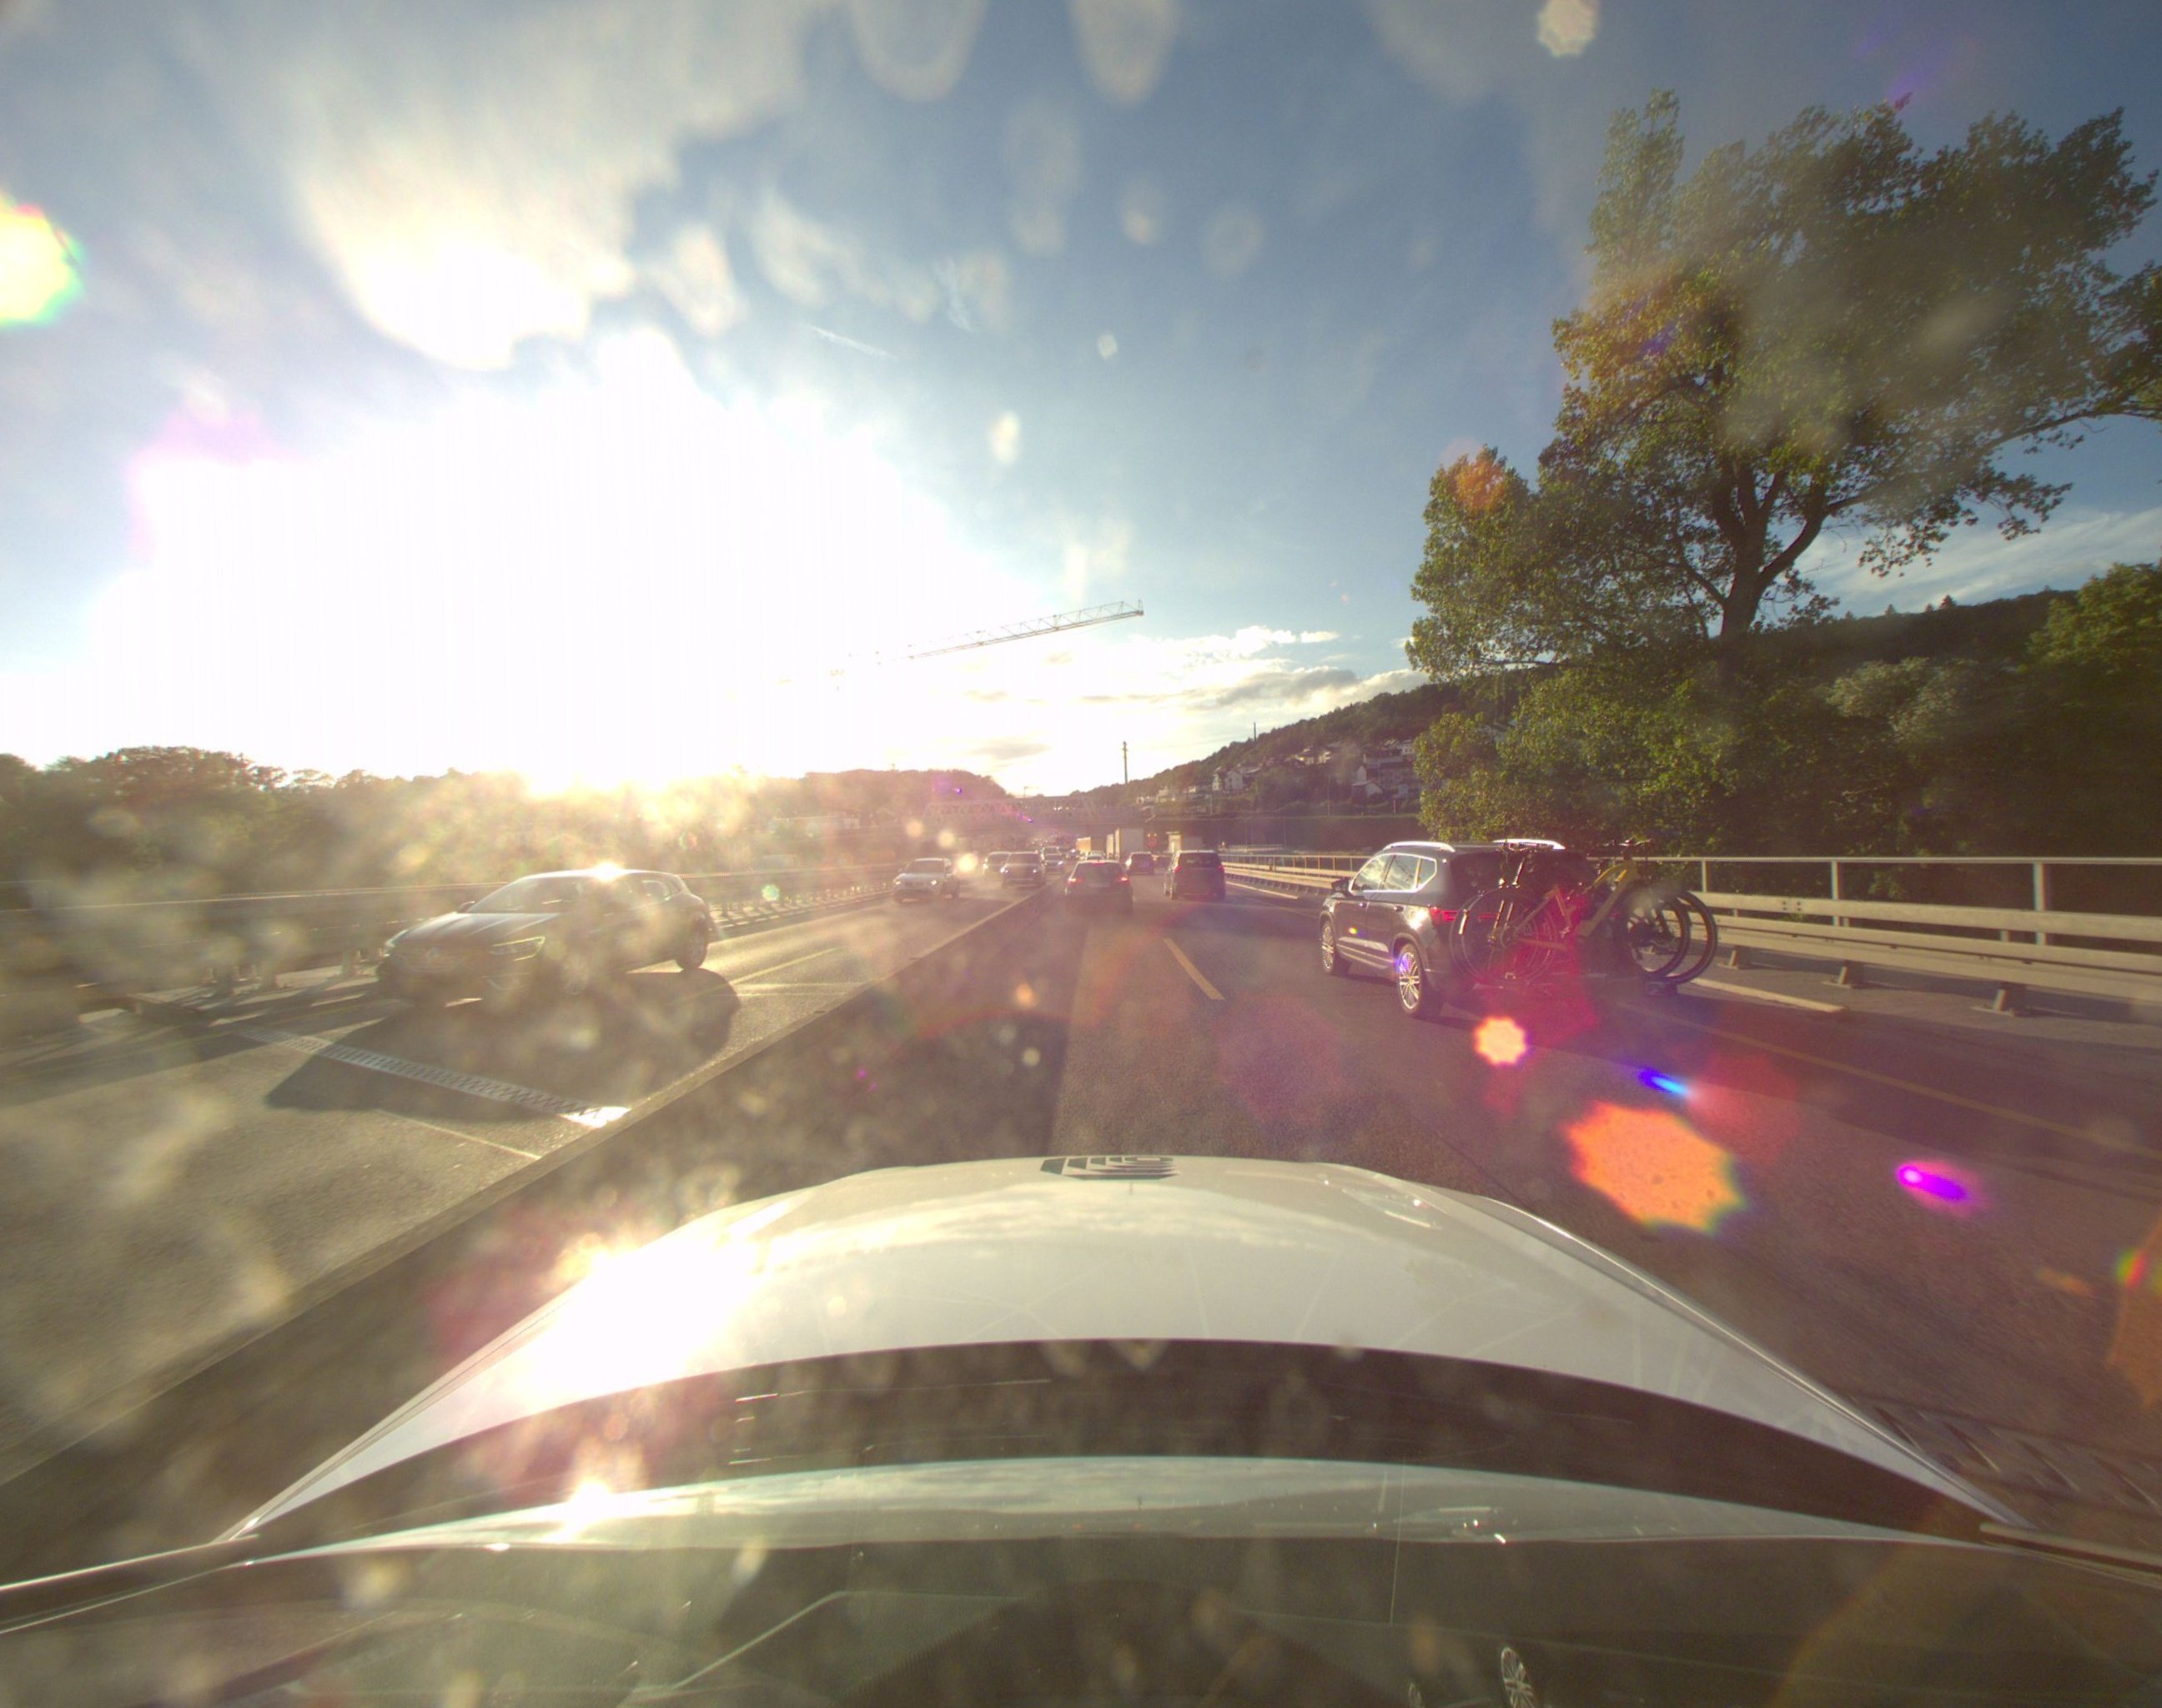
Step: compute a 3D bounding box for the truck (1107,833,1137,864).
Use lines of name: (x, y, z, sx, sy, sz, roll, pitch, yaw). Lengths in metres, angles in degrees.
truck: (6.330, -0.865, 128.827, 3.878, 4.498, 15.265, -1, 0, 0)

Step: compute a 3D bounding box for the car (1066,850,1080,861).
car: (-1.182, 0.207, 121.457, 1.988, 1.530, 5.778, -1, 0, -2)

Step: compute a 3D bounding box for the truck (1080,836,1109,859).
truck: (2.636, -1.402, 166.160, 3.887, 4.497, 13.814, -1, 1, -7)

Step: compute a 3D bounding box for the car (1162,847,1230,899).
car: (3.930, 0.600, 28.524, 1.808, 1.632, 4.412, -1, 0, 1)

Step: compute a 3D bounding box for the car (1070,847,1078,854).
car: (-1.726, -0.896, 195.852, 1.787, 1.539, 4.364, -1, 0, -2)

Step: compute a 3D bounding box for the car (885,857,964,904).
car: (-5.668, 0.921, 29.972, 1.921, 1.546, 4.290, -1, 0, 2)

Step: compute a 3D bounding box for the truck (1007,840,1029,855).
truck: (-16.915, -1.720, 217.514, 2.942, 3.890, 10.188, -1, 0, -22)

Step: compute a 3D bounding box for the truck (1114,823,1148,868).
truck: (5.441, -0.860, 89.854, 3.372, 4.498, 15.277, -1, 0, 3)

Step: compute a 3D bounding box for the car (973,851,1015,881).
car: (-5.604, 0.752, 53.015, 1.985, 1.856, 4.285, 1, 0, 3)

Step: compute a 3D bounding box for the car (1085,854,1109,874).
car: (1.260, 0.762, 64.243, 1.760, 1.486, 3.999, 0, 0, -1)

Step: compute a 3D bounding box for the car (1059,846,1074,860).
car: (-2.663, -0.231, 148.661, 2.071, 2.458, 6.253, -1, 0, -6)

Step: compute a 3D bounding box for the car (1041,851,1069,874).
car: (-1.972, 0.676, 63.846, 1.831, 1.640, 4.002, -3, 0, 2)

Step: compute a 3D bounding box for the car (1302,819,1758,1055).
car: (3.832, 0.577, 8.207, 1.869, 1.599, 4.966, -2, 0, 1)

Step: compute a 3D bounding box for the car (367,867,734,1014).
car: (-6.353, 0.925, 10.489, 1.769, 1.404, 4.310, -1, 0, 2)

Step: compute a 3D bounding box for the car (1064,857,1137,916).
car: (0.487, 0.802, 22.098, 1.764, 1.390, 4.000, -1, 0, 0)

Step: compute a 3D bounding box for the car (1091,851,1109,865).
car: (2.029, 0.413, 86.881, 1.758, 1.486, 4.003, 0, 0, 3)

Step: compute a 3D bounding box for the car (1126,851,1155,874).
car: (4.248, 0.572, 58.728, 1.764, 1.552, 4.000, 0, 0, 0)

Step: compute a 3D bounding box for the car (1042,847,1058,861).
car: (-3.948, -0.007, 105.776, 1.923, 1.862, 4.142, -1, 0, -1)

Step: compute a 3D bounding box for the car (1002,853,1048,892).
car: (-2.688, 0.850, 40.043, 1.923, 1.754, 4.671, -1, 0, -1)
